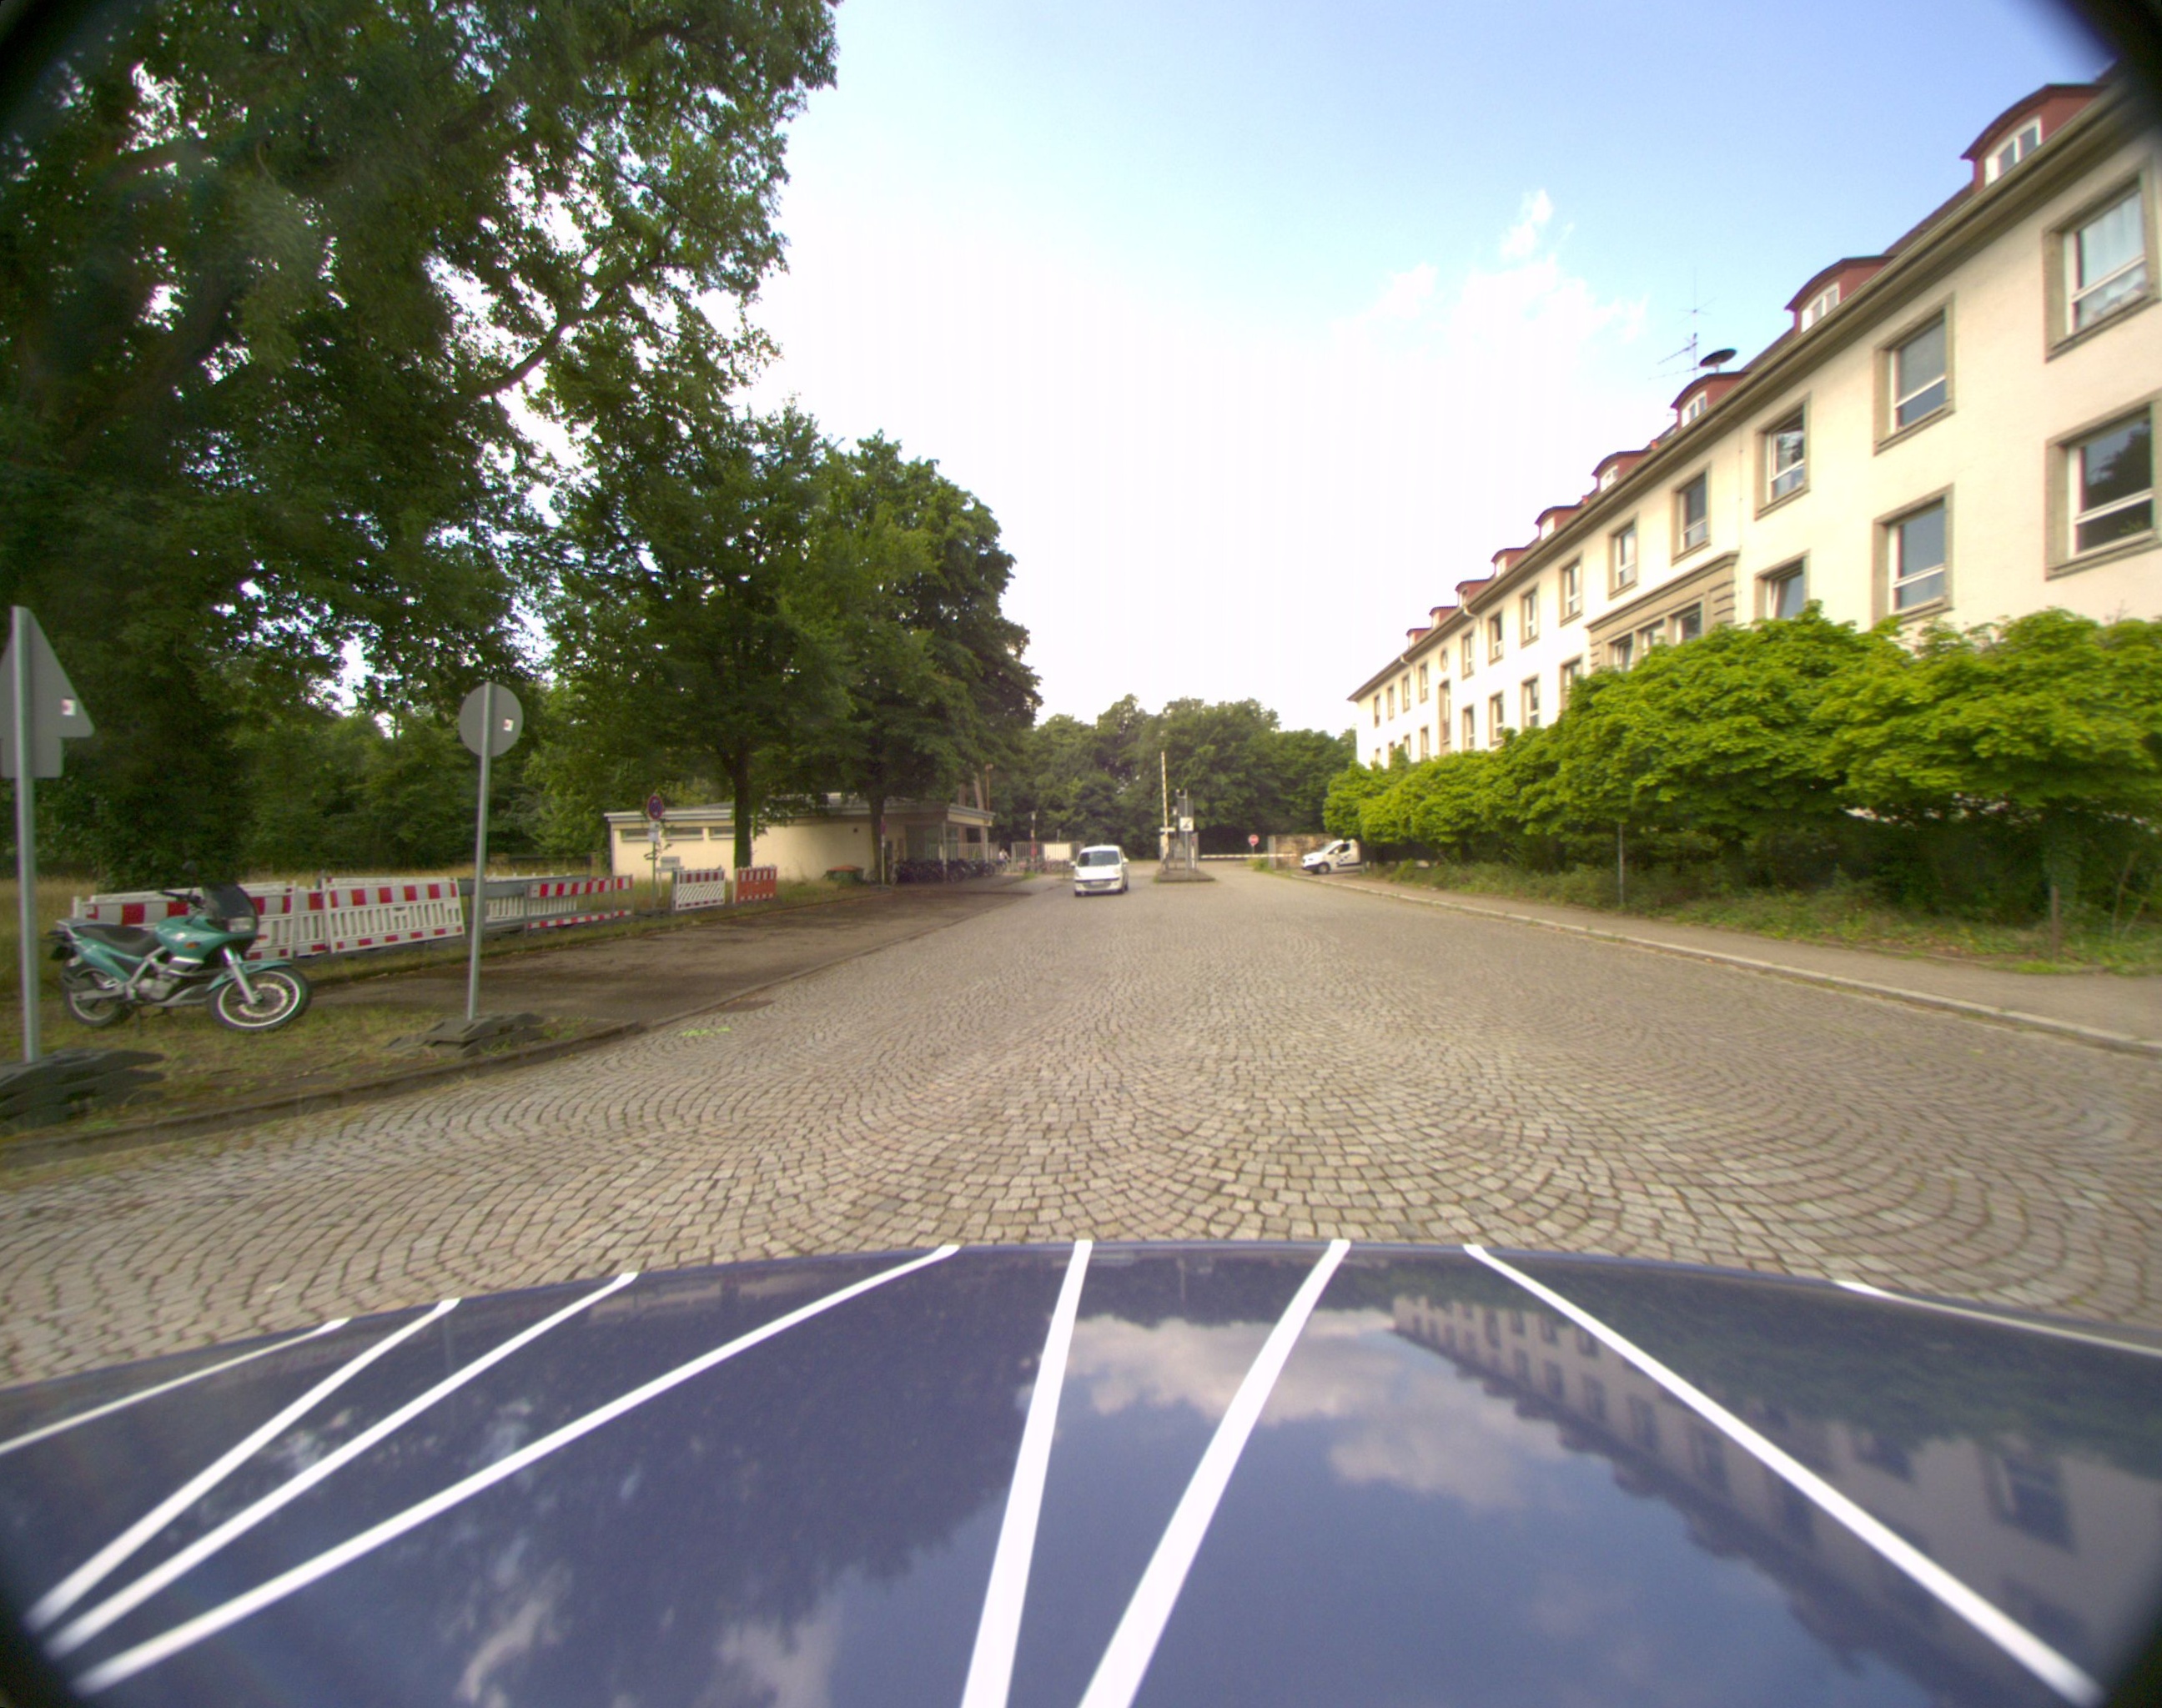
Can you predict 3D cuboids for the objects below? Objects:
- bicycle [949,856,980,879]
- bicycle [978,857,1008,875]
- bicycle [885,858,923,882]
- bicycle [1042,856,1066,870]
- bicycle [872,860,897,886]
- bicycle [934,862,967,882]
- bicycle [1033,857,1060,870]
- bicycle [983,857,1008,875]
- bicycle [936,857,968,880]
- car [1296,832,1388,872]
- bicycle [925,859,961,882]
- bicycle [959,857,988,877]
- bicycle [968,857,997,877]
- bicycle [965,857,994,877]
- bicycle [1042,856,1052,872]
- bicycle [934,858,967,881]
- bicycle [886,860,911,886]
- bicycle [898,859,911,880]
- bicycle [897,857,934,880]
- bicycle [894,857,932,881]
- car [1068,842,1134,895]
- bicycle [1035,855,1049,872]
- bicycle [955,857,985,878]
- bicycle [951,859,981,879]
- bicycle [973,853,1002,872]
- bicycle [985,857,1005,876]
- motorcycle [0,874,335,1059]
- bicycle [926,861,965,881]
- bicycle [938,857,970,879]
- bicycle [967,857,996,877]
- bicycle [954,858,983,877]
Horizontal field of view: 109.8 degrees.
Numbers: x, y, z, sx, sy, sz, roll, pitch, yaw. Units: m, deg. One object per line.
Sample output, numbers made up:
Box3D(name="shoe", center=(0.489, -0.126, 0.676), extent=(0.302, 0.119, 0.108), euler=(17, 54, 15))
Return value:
Box3D(name="bicycle", center=(-6.266, 0.715, 40.846), extent=(1.635, 1.183, 0.498), euler=(0, 1, -7))
Box3D(name="bicycle", center=(-5.393, 0.730, 46.603), extent=(1.753, 1.040, 0.453), euler=(-2, 1, -33))
Box3D(name="bicycle", center=(-8.667, 0.768, 37.218), extent=(1.745, 1.158, 0.608), euler=(0, 1, 1))
Box3D(name="bicycle", center=(-1.922, 0.627, 54.162), extent=(1.729, 1.027, 0.387), euler=(0, 1, 7))
Box3D(name="bicycle", center=(-8.838, 0.830, 34.215), extent=(0.598, 1.110, 1.635), euler=(1, 1, 4))
Box3D(name="bicycle", center=(-6.562, 0.890, 38.276), extent=(1.637, 0.970, 0.322), euler=(0, 1, -25))
Box3D(name="bicycle", center=(-2.450, 0.682, 53.521), extent=(1.867, 0.934, 0.503), euler=(0, 1, 0))
Box3D(name="bicycle", center=(-5.181, 0.735, 45.953), extent=(1.407, 1.040, 0.338), euler=(-2, 1, -21))
Box3D(name="bicycle", center=(-6.688, 0.750, 39.462), extent=(1.635, 1.183, 0.419), euler=(0, 1, -7))
Box3D(name="car", center=(14.077, -0.115, 41.201), extent=(4.310, 1.796, 1.820), euler=(-4, 1, 3))
Box3D(name="bicycle", center=(-6.634, 0.789, 36.602), extent=(1.681, 1.102, 0.338), euler=(0, 1, -8))
Box3D(name="bicycle", center=(-6.095, 0.745, 43.088), extent=(1.617, 1.134, 0.325), euler=(0, 1, -2))
Box3D(name="bicycle", center=(-5.696, 0.729, 43.833), extent=(1.617, 1.134, 0.325), euler=(0, 1, -2))
Box3D(name="bicycle", center=(-5.786, 0.737, 43.454), extent=(1.617, 1.134, 0.325), euler=(0, 1, -2))
Box3D(name="bicycle", center=(-2.281, 0.651, 51.086), extent=(0.474, 1.051, 1.733), euler=(-1, 1, 6))
Box3D(name="bicycle", center=(-6.693, 0.783, 38.908), extent=(1.635, 1.183, 0.473), euler=(0, 1, -8))
Box3D(name="bicycle", center=(-8.208, 0.821, 34.187), extent=(0.598, 1.110, 1.635), euler=(1, 1, 4))
Box3D(name="bicycle", center=(-9.370, 0.831, 40.376), extent=(0.480, 1.069, 1.680), euler=(0, 1, -6))
Box3D(name="bicycle", center=(-8.538, 0.739, 39.162), extent=(1.745, 1.158, 0.608), euler=(0, 1, 1))
Box3D(name="bicycle", center=(-8.440, 0.746, 38.230), extent=(1.745, 1.158, 0.608), euler=(0, 1, 1))
Box3D(name="car", center=(0.832, 0.494, 28.280), extent=(1.865, 1.749, 4.151), euler=(-3, 0, 9))
Box3D(name="bicycle", center=(-2.508, 0.625, 48.775), extent=(0.691, 1.056, 1.566), euler=(-1, 1, 6))
Box3D(name="bicycle", center=(-6.192, 0.757, 42.422), extent=(1.595, 1.134, 0.325), euler=(0, 1, -2))
Box3D(name="bicycle", center=(-6.272, 0.809, 41.477), extent=(1.635, 1.044, 0.334), euler=(0, 1, -9))
Box3D(name="bicycle", center=(-5.783, 0.529, 46.982), extent=(1.743, 1.125, 0.473), euler=(-2, 1, -34))
Box3D(name="bicycle", center=(-5.170, 0.740, 45.535), extent=(1.154, 1.057, 0.286), euler=(-2, 1, -16))
Box3D(name="motorcycle", center=(-8.043, 0.940, 6.633), extent=(2.282, 1.477, 0.757), euler=(-1, 1, 0))
Box3D(name="bicycle", center=(-6.687, 0.845, 37.481), extent=(1.748, 0.970, 0.757), euler=(0, 1, -25))
Box3D(name="bicycle", center=(-6.684, 0.742, 40.076), extent=(1.635, 1.183, 0.419), euler=(0, 1, -7))
Box3D(name="bicycle", center=(-5.792, 0.737, 44.307), extent=(1.617, 1.134, 0.356), euler=(0, 1, -2))
Box3D(name="bicycle", center=(-6.222, 0.736, 42.030), extent=(1.595, 1.044, 0.325), euler=(0, 1, -2))
